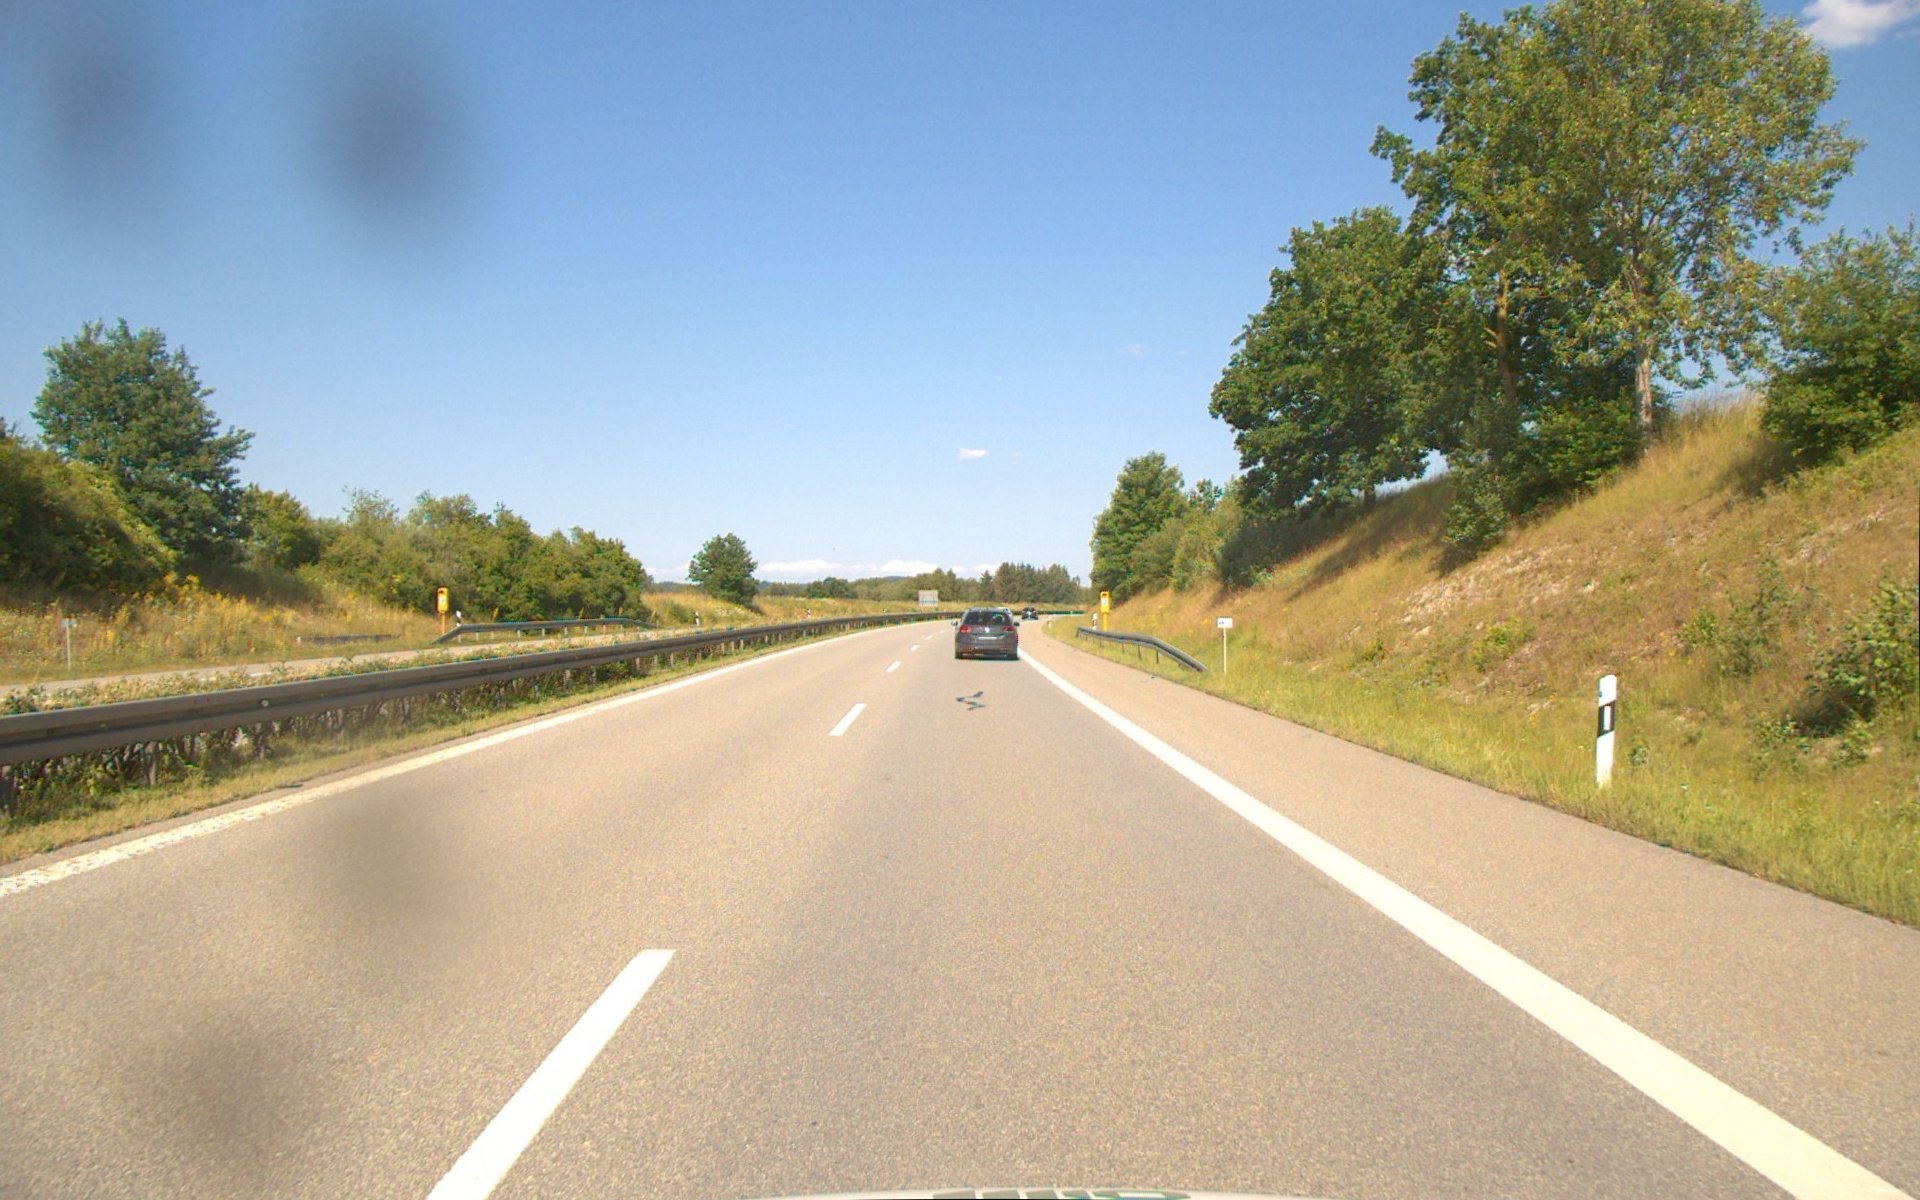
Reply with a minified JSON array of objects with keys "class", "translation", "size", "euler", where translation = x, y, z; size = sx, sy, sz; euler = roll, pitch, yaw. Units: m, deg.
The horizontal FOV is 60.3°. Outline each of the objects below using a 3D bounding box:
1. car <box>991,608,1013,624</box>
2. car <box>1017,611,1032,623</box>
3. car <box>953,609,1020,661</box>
[{"class":"car","translation":[3.931,1.527,153.834],"size":[1.965,1.368,4.001],"euler":[2,-1,2]},{"class":"car","translation":[7.650,2.036,197.258],"size":[1.675,1.411,3.355],"euler":[2,-1,2]},{"class":"car","translation":[0.717,0.961,47.030],"size":[1.754,1.368,3.999],"euler":[0,0,-1]}]
